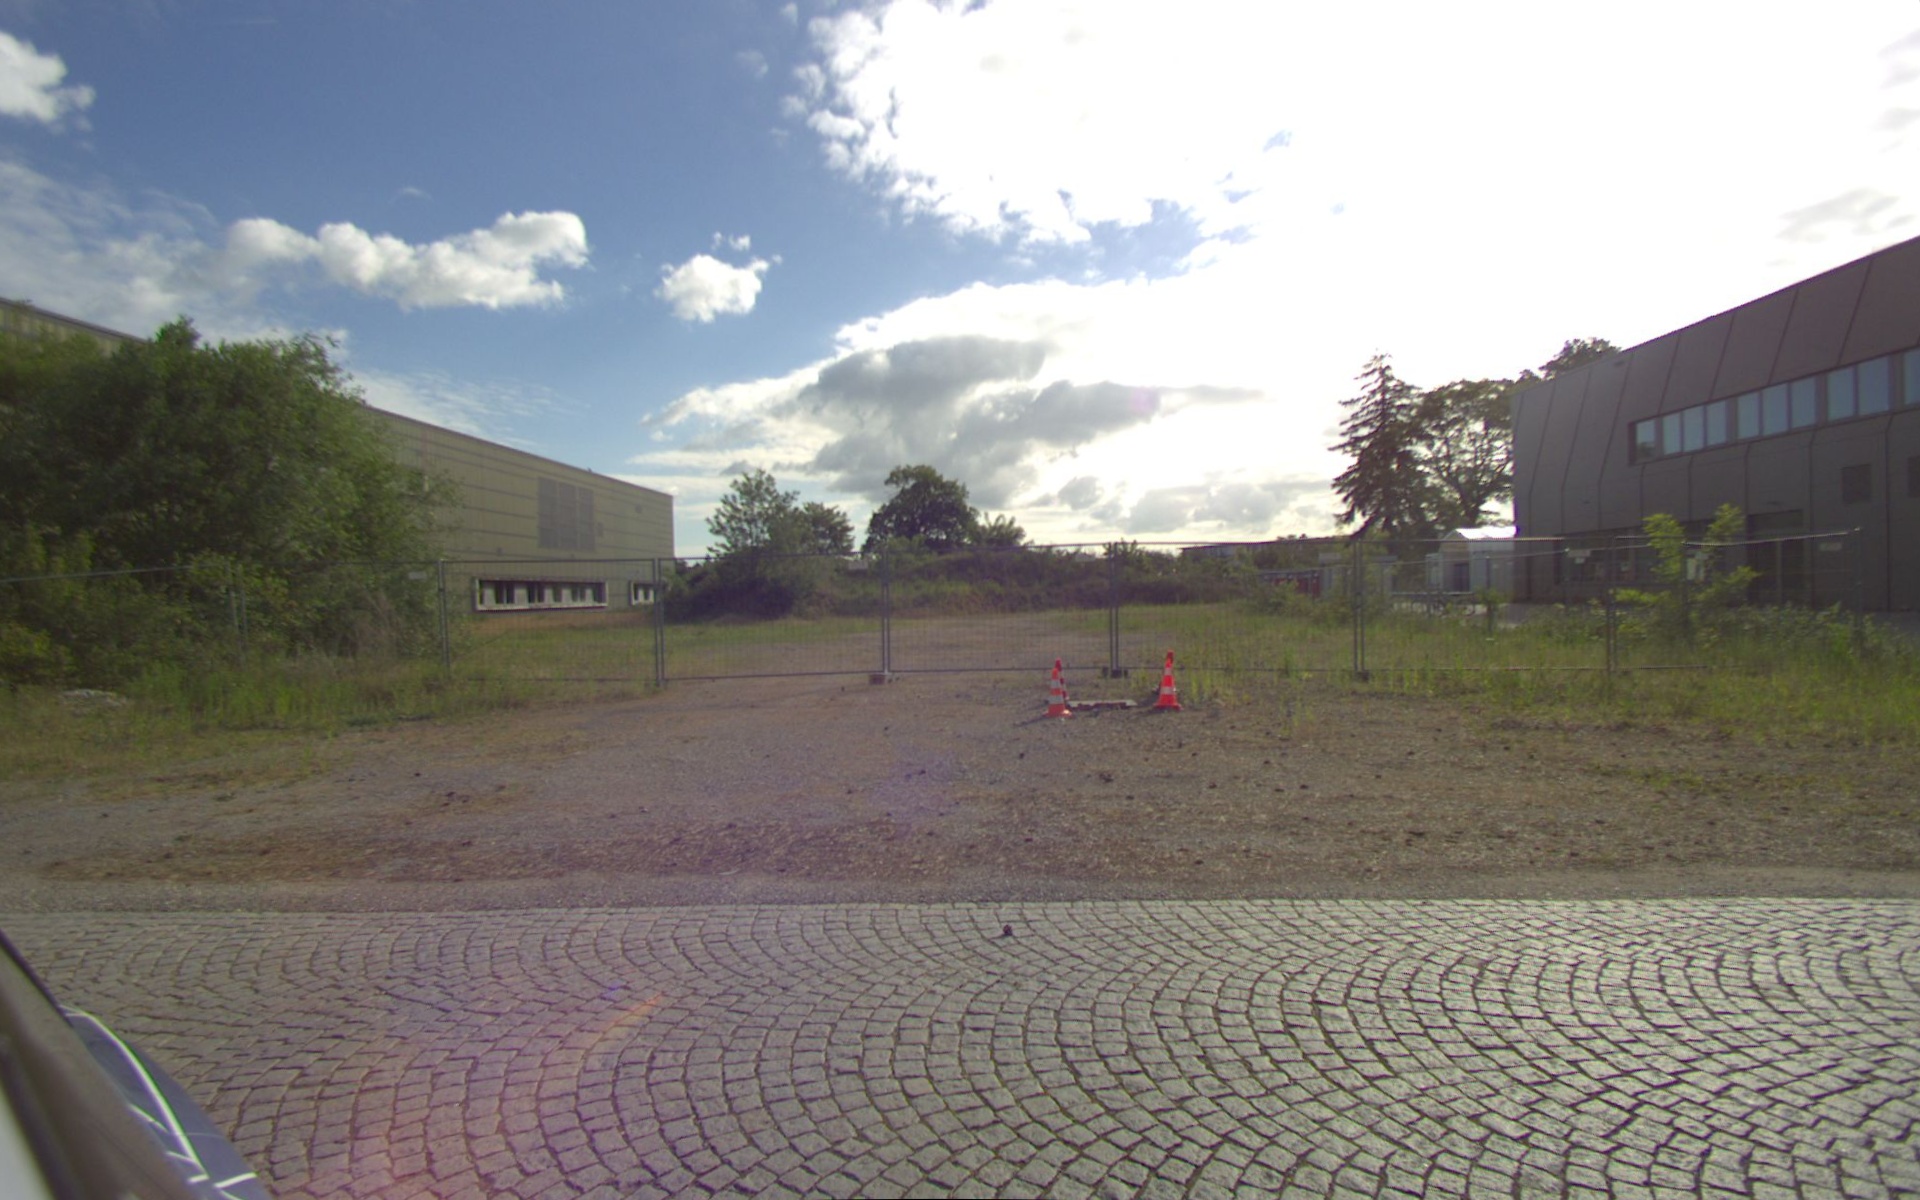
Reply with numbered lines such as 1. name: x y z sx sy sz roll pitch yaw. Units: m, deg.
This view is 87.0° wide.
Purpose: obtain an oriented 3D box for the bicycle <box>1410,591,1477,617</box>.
1. bicycle: 18.291 0.145 38.324 2.041 0.928 0.946 -2 0 1

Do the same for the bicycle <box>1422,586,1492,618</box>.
1. bicycle: 18.192 0.071 37.075 2.041 1.095 0.946 -2 0 1

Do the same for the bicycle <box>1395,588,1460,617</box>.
1. bicycle: 18.166 0.080 39.338 2.041 1.052 0.946 -2 0 1
